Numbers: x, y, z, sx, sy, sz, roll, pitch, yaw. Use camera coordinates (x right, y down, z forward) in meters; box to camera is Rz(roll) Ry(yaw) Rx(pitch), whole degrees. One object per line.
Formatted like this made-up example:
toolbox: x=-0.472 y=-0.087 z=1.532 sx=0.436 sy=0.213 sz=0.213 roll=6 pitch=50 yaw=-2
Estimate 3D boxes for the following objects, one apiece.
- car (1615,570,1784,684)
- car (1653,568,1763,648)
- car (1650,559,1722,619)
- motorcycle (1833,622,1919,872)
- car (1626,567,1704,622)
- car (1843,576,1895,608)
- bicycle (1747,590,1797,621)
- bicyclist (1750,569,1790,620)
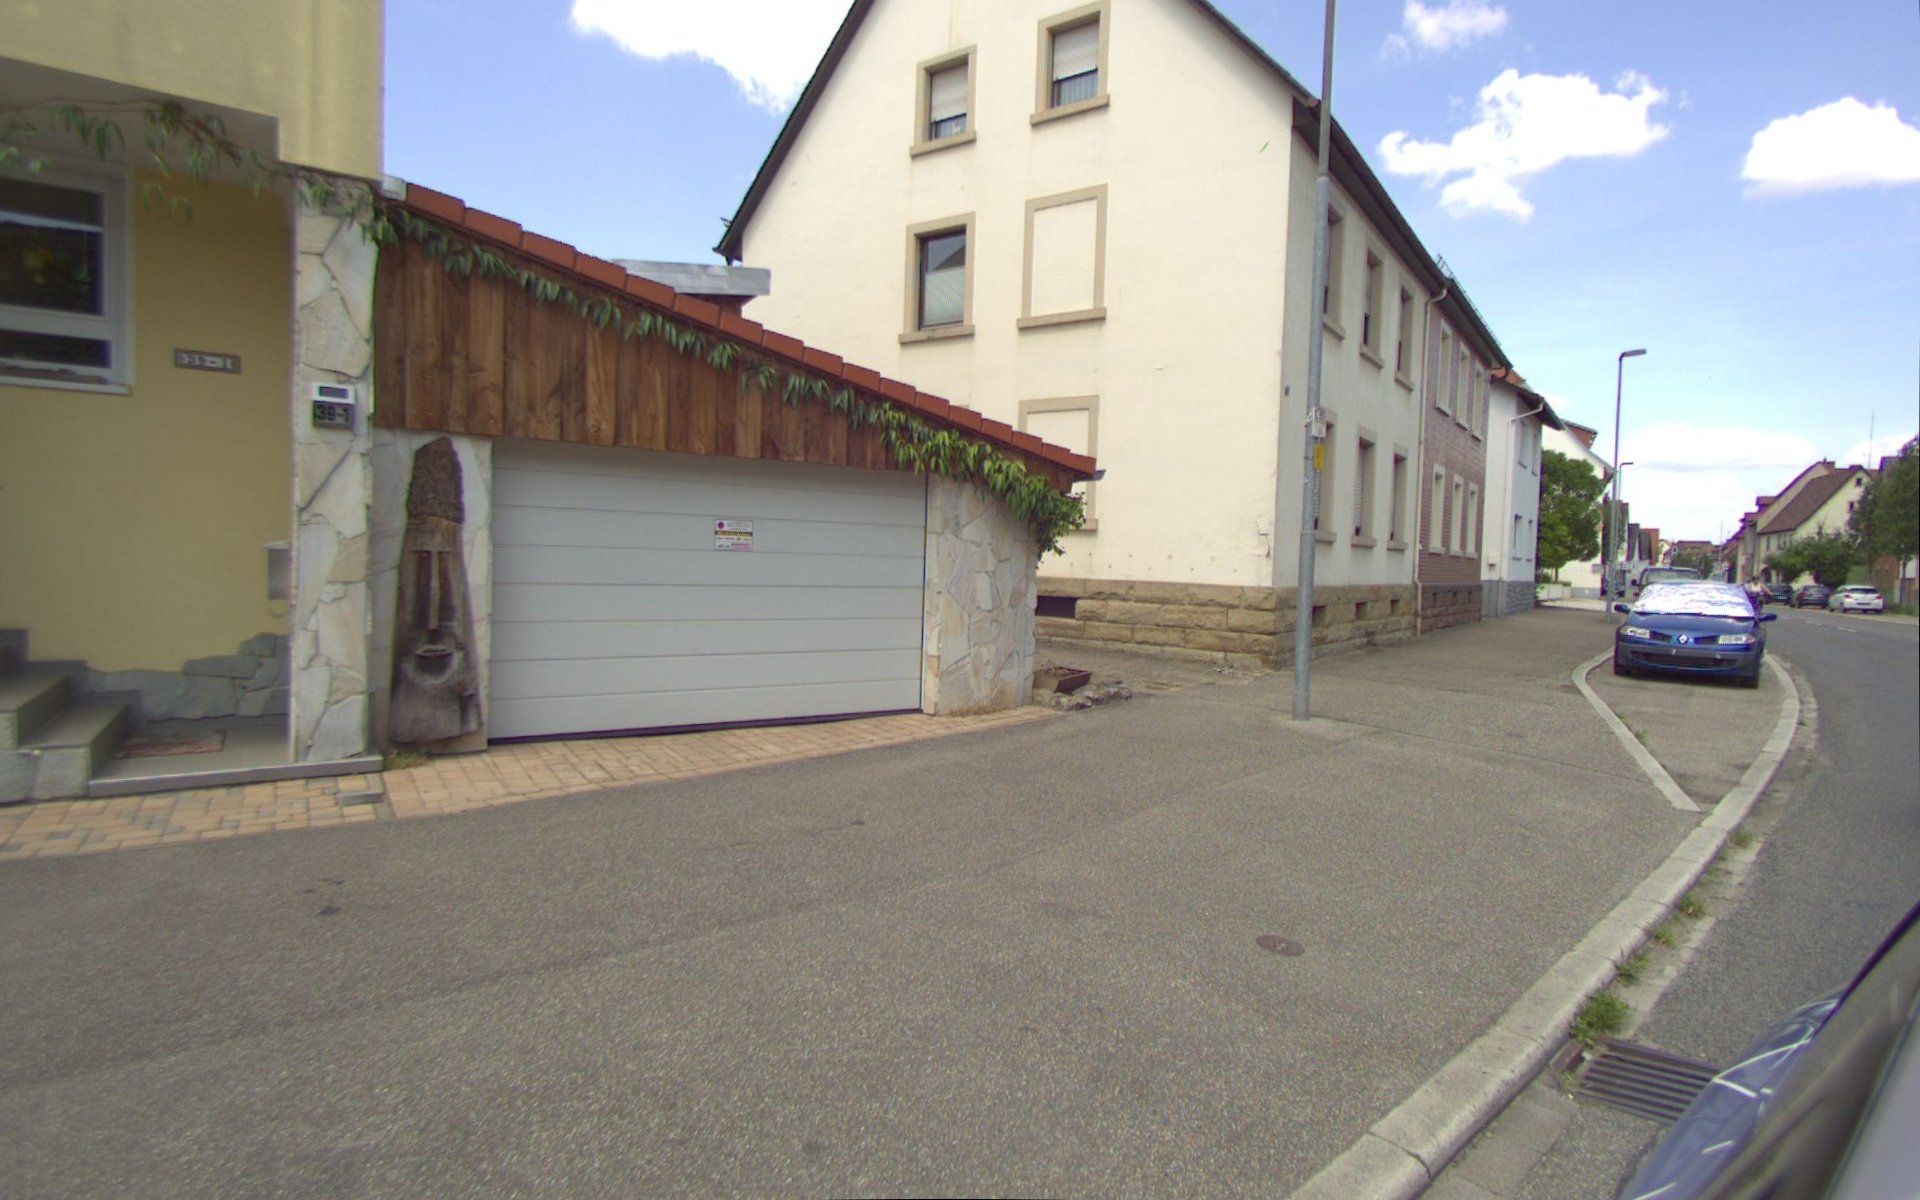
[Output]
car: x=11.398 y=0.302 z=15.500 sx=1.722 sy=1.402 sz=3.942 roll=4 pitch=4 yaw=41
car: x=16.371 y=0.172 z=22.135 sx=1.765 sy=1.549 sz=3.945 roll=3 pitch=0 yaw=38
car: x=25.631 y=-0.471 z=35.840 sx=1.919 sy=1.939 sz=5.182 roll=1 pitch=3 yaw=35
motorcycle: x=5.869 y=0.760 z=5.493 sx=2.060 sy=1.256 sz=0.987 roll=0 pitch=0 yaw=-26
car: x=21.732 y=-0.224 z=31.312 sx=1.732 sy=1.522 sz=4.506 roll=2 pitch=2 yaw=32
car: x=47.845 y=-0.435 z=53.309 sx=1.675 sy=1.549 sz=3.454 roll=1 pitch=3 yaw=37
bicycle: x=28.072 y=0.182 z=34.975 sx=1.889 sy=1.024 sz=0.934 roll=1 pitch=1 yaw=-38
bicyclist: x=27.858 y=-0.210 z=34.823 sx=0.747 sy=1.709 sz=0.910 roll=-2 pitch=2 yaw=-37
